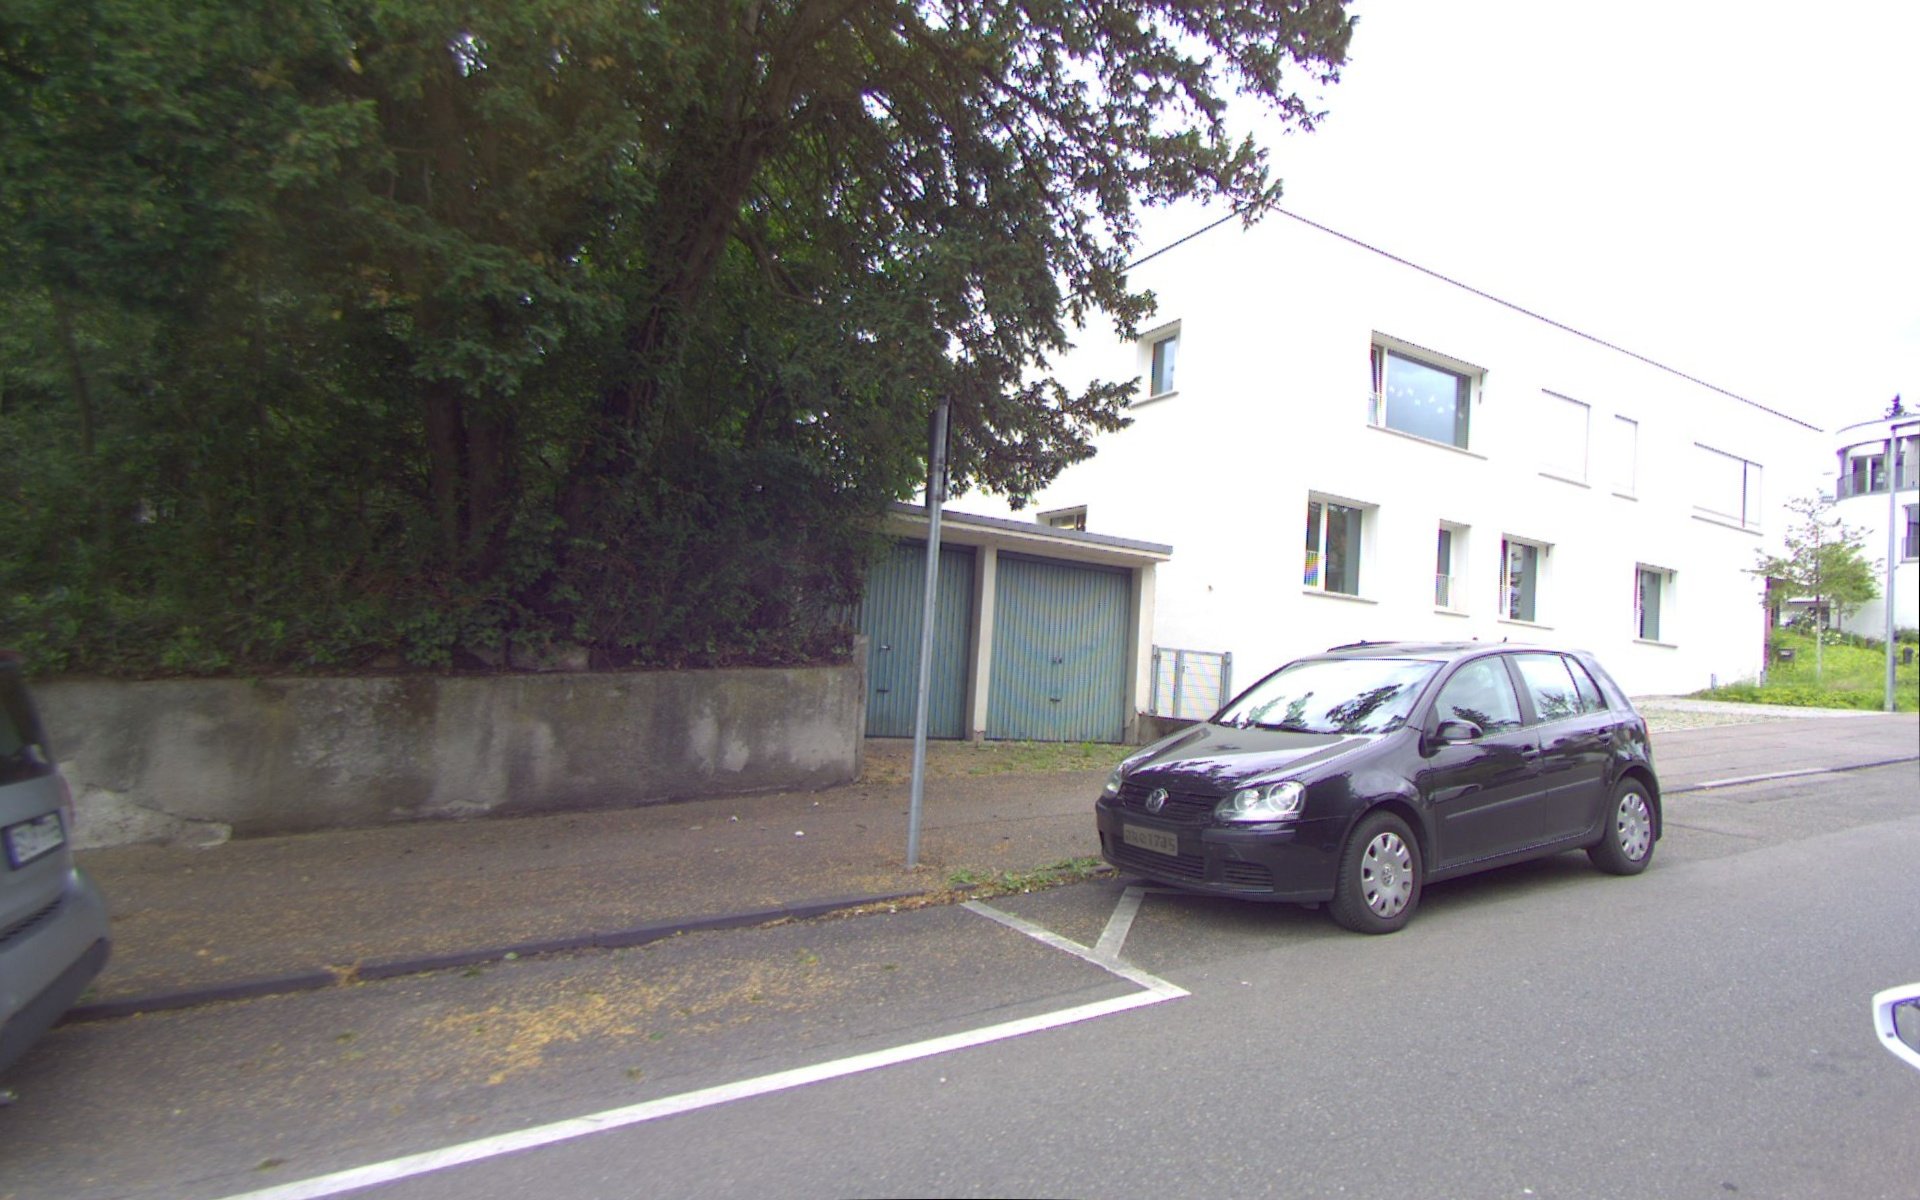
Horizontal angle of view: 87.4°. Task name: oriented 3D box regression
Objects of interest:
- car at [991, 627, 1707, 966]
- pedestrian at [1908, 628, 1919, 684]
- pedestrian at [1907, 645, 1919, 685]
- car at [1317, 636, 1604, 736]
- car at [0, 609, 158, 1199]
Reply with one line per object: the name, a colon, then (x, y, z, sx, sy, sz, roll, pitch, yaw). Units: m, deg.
car: (2.625, 0.949, 6.432, 4.629, 1.489, 1.841, 2, -3, -31)
pedestrian: (29.586, 1.726, 30.802, 0.513, 1.704, 0.586, 1, -2, -28)
pedestrian: (31.894, 2.142, 33.205, 0.889, 1.300, 0.604, 2, -1, -30)
car: (7.833, 1.275, 16.036, 1.724, 1.372, 3.771, 2, -2, -34)
car: (-4.154, 0.768, 2.615, 2.940, 1.538, 1.617, 2, -2, -30)
